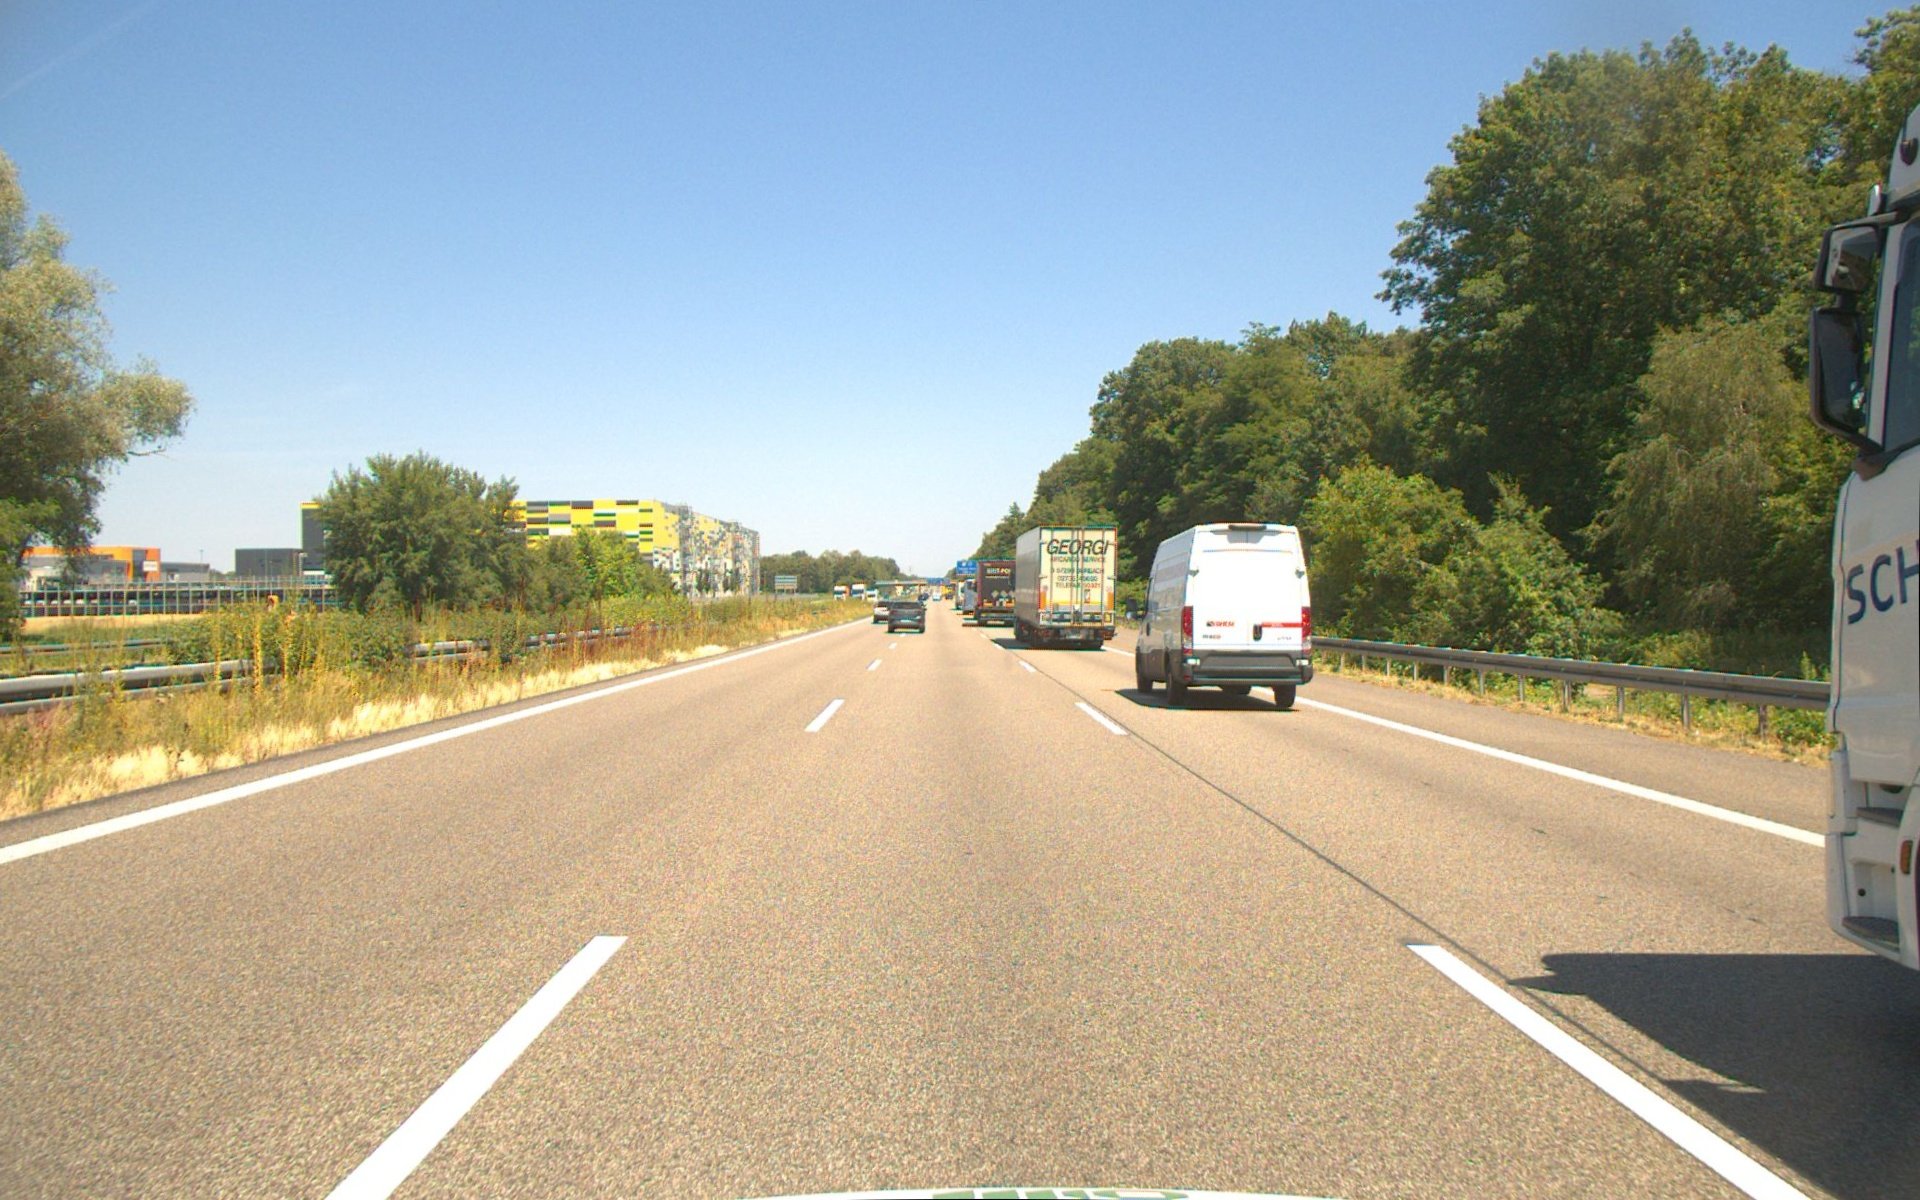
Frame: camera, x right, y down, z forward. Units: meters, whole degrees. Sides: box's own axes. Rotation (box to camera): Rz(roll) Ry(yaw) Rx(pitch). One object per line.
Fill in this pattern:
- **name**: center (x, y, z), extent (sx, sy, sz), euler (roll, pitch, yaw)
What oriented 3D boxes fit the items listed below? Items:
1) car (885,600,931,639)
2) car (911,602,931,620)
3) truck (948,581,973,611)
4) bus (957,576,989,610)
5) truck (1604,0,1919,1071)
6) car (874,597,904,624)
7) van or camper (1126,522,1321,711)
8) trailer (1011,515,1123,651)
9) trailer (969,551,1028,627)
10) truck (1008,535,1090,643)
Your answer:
- **car**: center (-2.511, 0.947, 81.266), extent (2.171, 1.821, 5.392), euler (-1, 0, -1)
- **car**: center (-3.855, 1.048, 162.517), extent (1.902, 1.736, 3.999), euler (0, 0, -1)
- **truck**: center (0.037, -0.586, 235.211), extent (3.353, 4.198, 9.564), euler (-1, 0, 0)
- **bus**: center (1.350, -0.736, 175.962), extent (3.001, 3.385, 8.270), euler (-1, 0, -2)
- **truck**: center (4.567, -0.504, 4.549), extent (2.830, 4.101, 6.868), euler (1, 0, -1)
- **car**: center (-4.785, 0.673, 111.731), extent (1.953, 1.758, 4.129), euler (0, 0, -2)
- **van or camper**: center (4.100, 0.235, 26.931), extent (1.981, 2.683, 6.485), euler (1, 0, -1)
- **trailer**: center (3.670, -0.543, 60.286), extent (2.933, 4.364, 13.415), euler (1, 0, -1)
- **trailer**: center (2.361, -0.679, 107.804), extent (3.043, 4.585, 14.891), euler (1, 0, -2)
- **truck**: center (3.531, -0.415, 67.098), extent (2.942, 4.197, 5.251), euler (0, 0, -1)
